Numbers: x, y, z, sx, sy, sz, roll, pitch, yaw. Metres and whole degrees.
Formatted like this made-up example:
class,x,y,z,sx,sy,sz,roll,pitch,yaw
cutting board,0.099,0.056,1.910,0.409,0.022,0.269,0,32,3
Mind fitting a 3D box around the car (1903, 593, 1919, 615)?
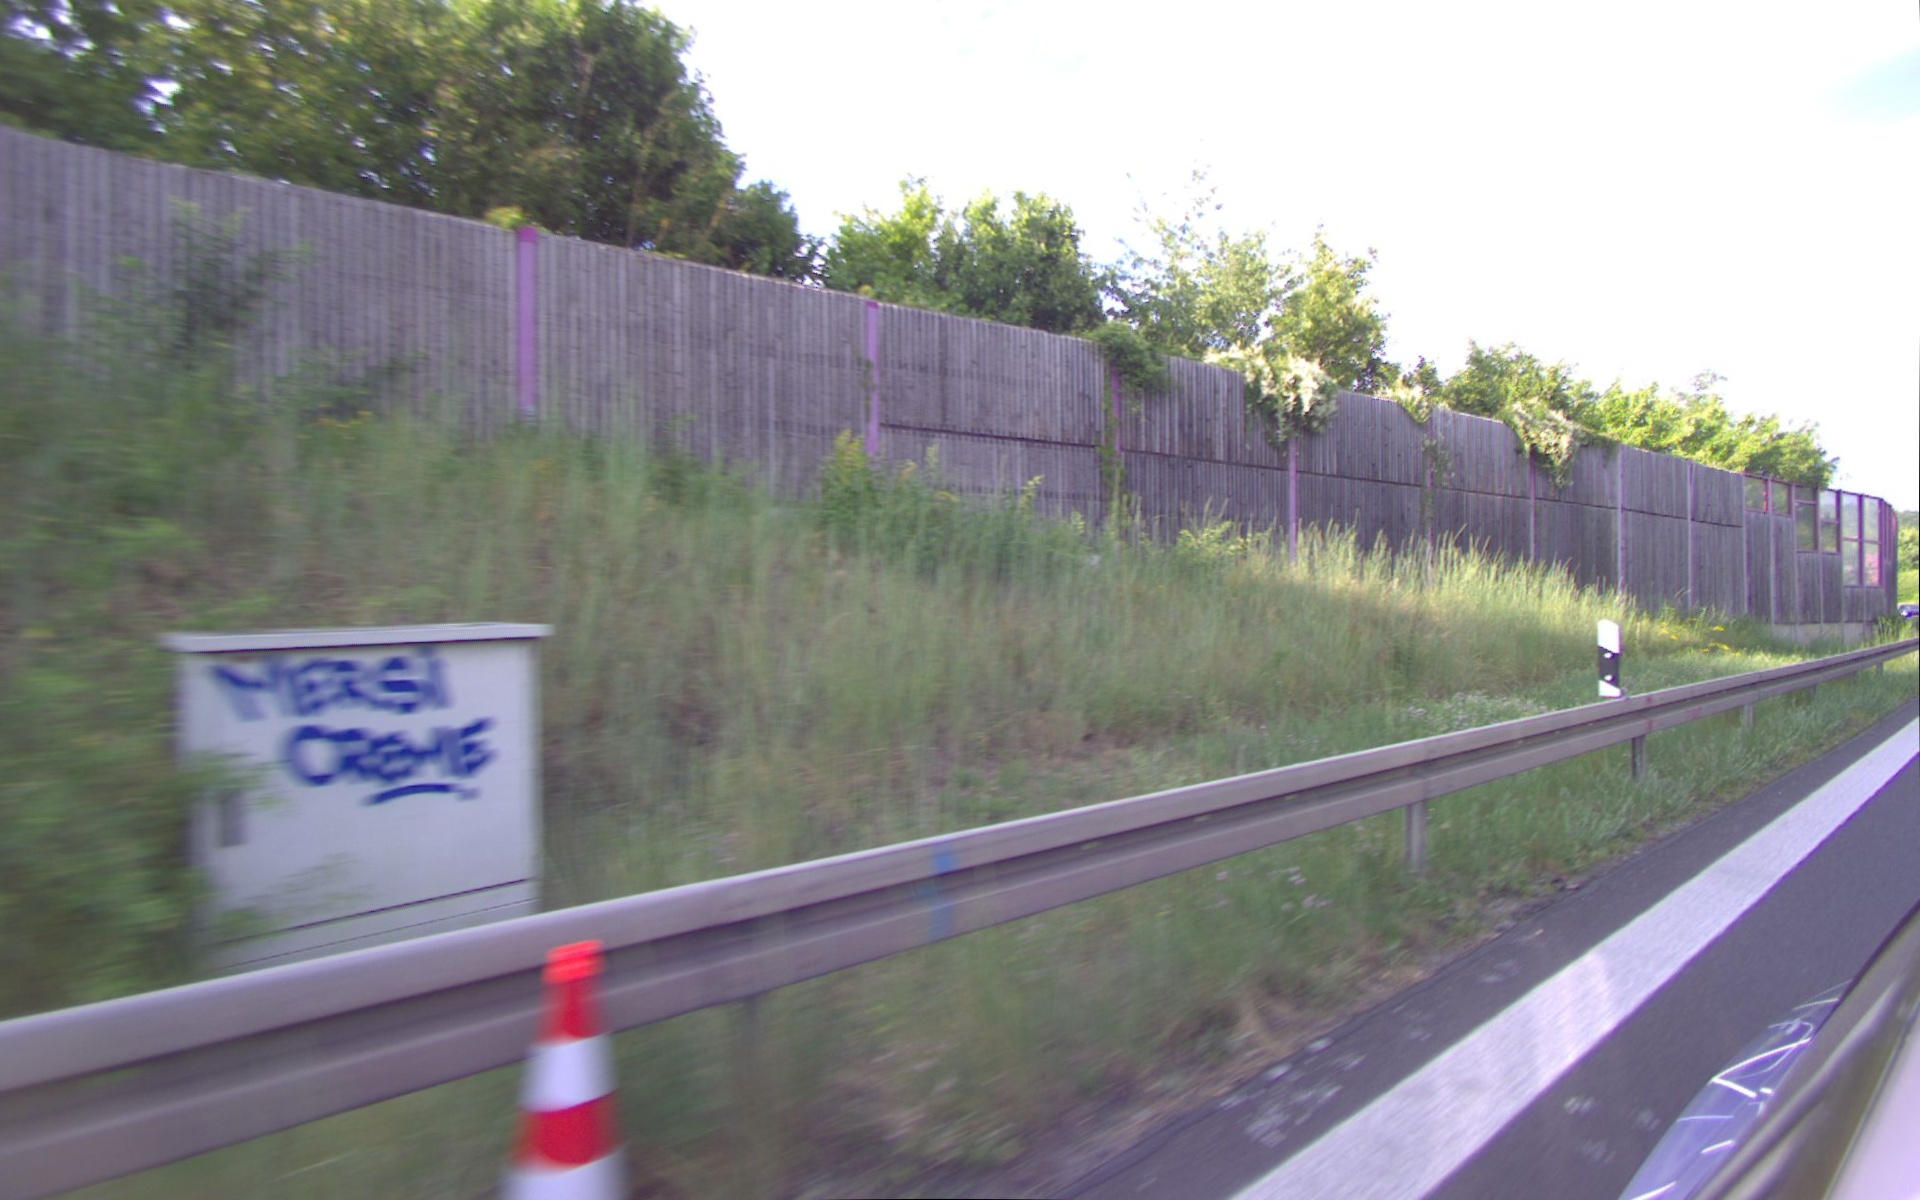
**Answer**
class,x,y,z,sx,sy,sz,roll,pitch,yaw
car,79.528,0.333,83.867,1.801,1.738,3.941,1,0,41
